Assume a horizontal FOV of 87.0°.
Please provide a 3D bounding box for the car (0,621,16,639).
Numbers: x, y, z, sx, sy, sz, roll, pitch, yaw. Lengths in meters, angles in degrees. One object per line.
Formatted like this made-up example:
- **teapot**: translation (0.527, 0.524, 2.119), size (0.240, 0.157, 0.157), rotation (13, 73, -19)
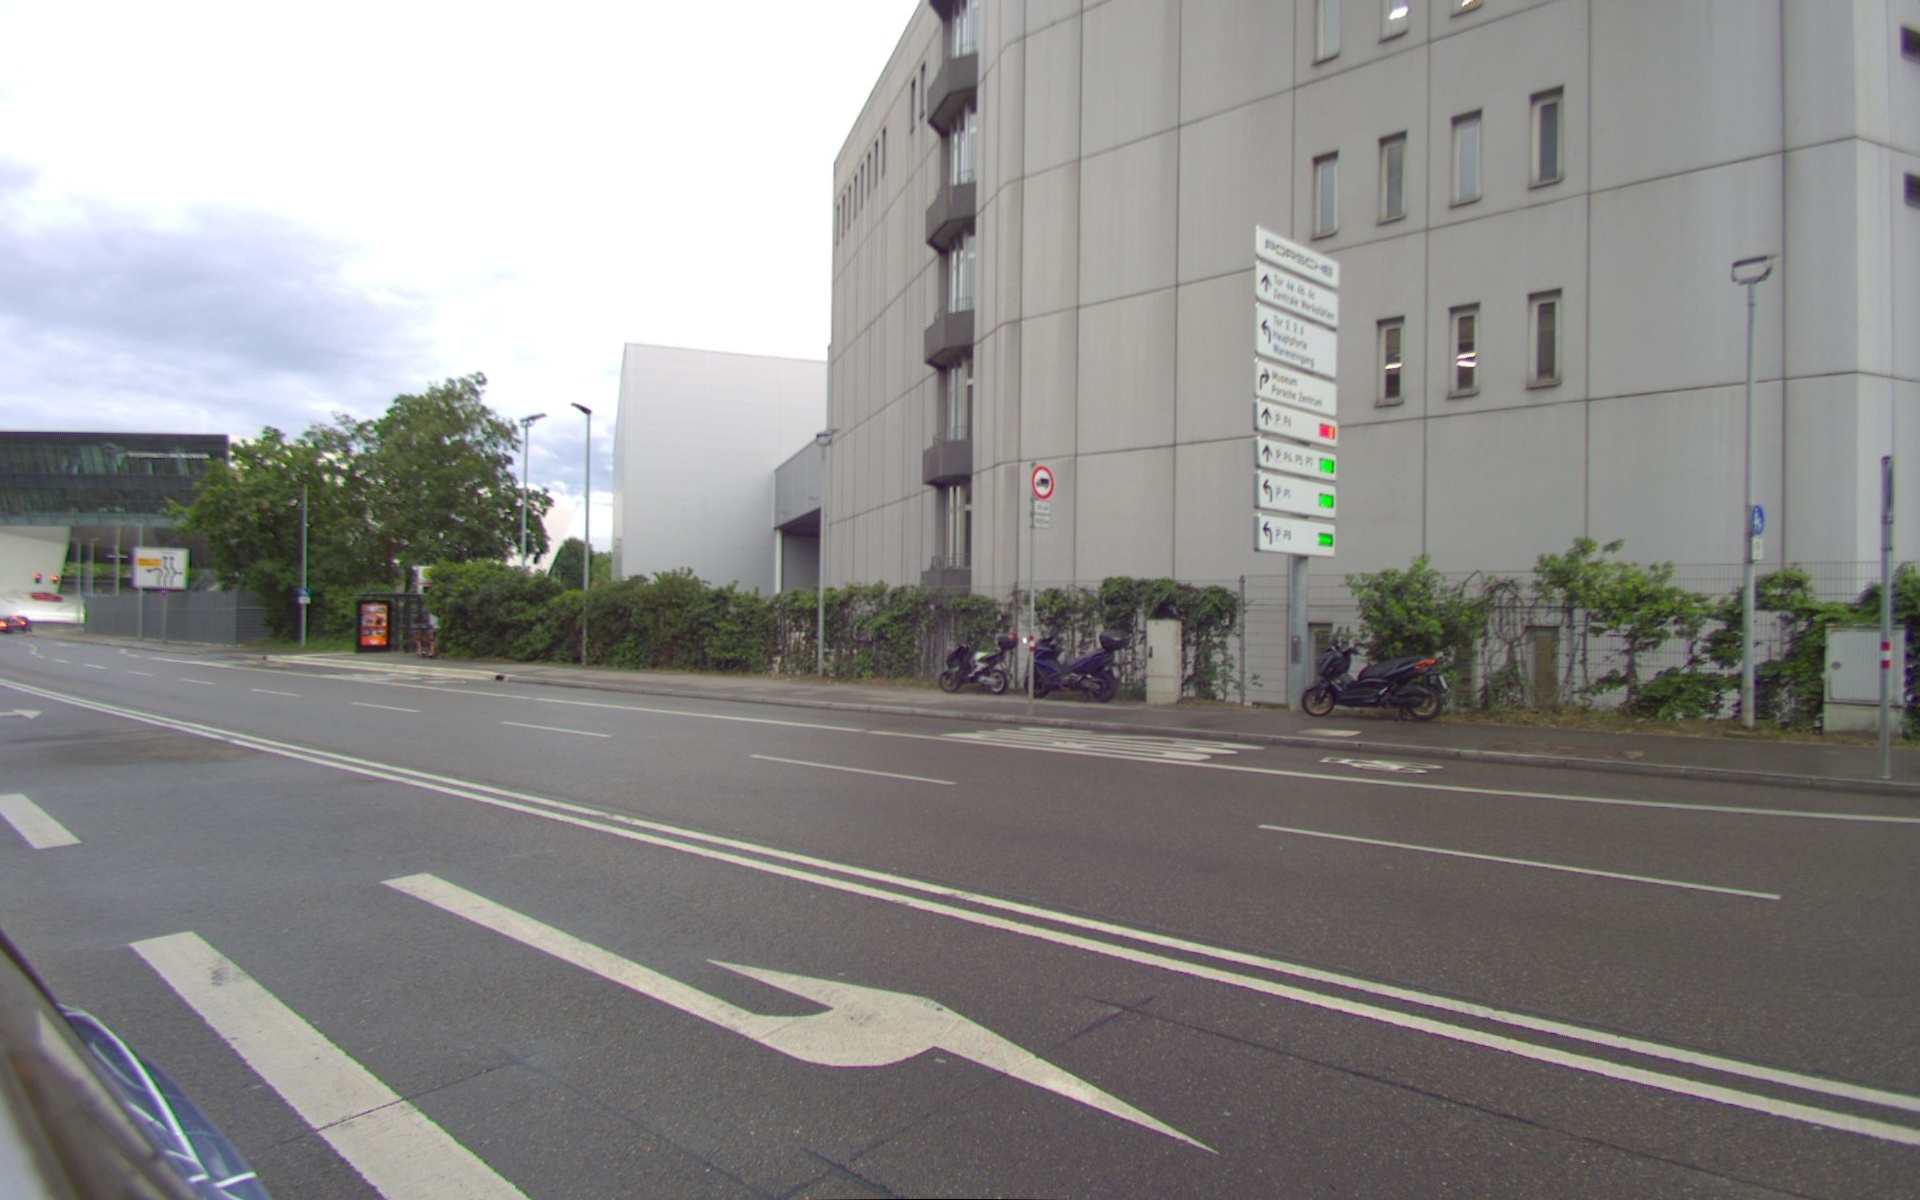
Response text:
- **car**: translation (-85.021, 2.624, 88.968), size (2.233, 1.488, 4.059), rotation (1, -1, -32)

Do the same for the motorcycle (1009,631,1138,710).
- **motorcycle**: translation (2.075, 1.263, 18.795), size (2.368, 1.358, 0.776), rotation (-1, -2, 40)

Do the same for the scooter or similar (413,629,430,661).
- **scooter or similar**: translation (-20.257, 1.685, 38.060), size (0.383, 1.189, 1.253), rotation (1, -2, -36)

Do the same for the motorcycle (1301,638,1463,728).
- **motorcycle**: translation (6.410, 1.218, 15.461), size (2.156, 1.257, 0.777), rotation (-1, -2, 40)

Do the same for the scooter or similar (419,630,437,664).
- **scooter or similar**: translation (-19.410, 1.693, 36.933), size (0.373, 1.190, 1.380), rotation (1, -2, -36)

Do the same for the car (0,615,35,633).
- **car**: translation (-88.575, 2.281, 94.989), size (1.834, 1.663, 3.799), rotation (1, -2, -30)

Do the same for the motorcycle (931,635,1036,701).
- **motorcycle**: translation (0.462, 1.356, 20.648), size (2.156, 1.260, 0.777), rotation (-1, -2, 40)
